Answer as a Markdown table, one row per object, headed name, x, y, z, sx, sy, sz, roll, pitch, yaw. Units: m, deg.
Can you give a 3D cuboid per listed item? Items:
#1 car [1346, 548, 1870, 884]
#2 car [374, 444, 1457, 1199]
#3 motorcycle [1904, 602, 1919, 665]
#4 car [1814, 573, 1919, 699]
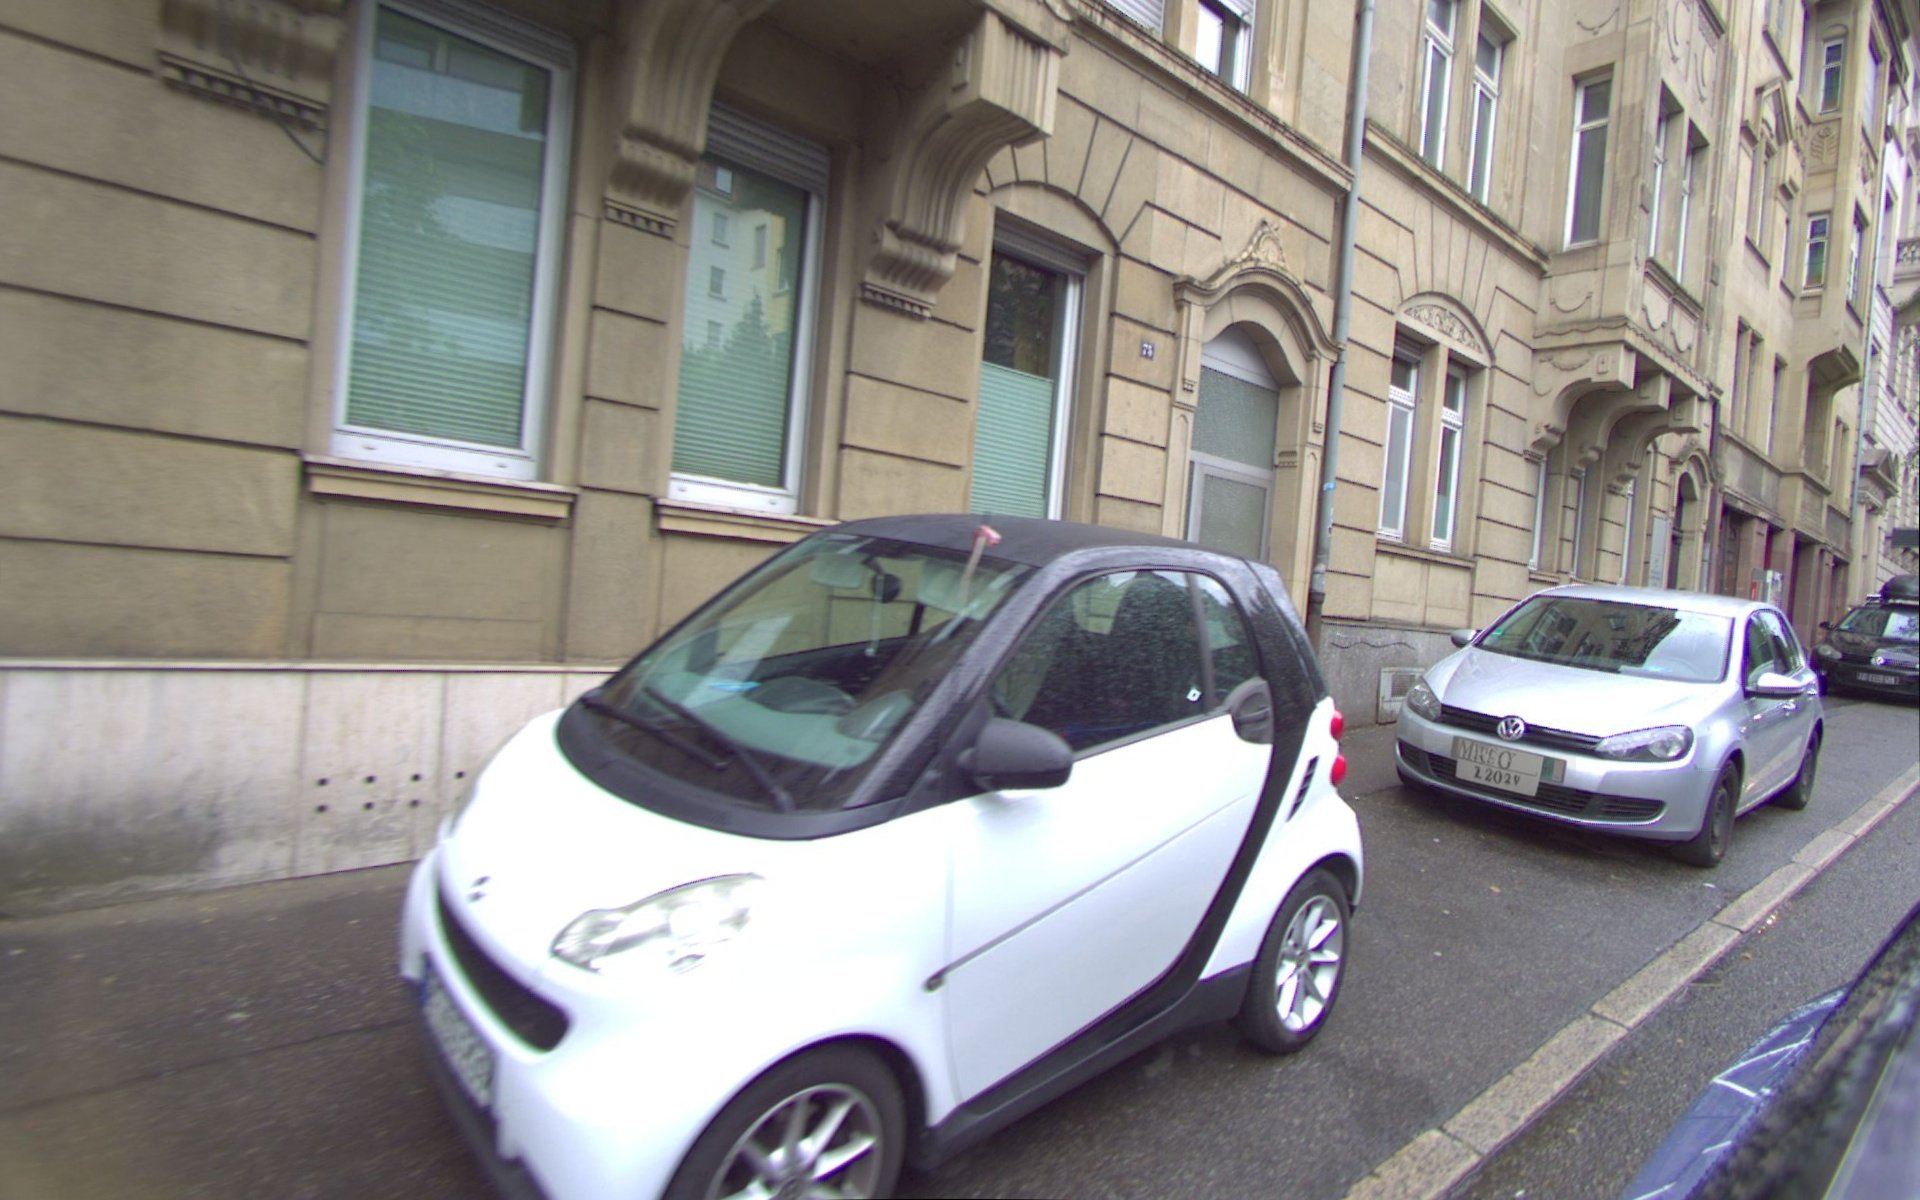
| name | x | y | z | sx | sy | sz | roll | pitch | yaw |
| --- | --- | --- | --- | --- | --- | --- | --- | --- | --- |
| car | 4.469 | 0.532 | 6.753 | 3.929 | 1.468 | 1.765 | 0 | 6 | -41 |
| car | 0.081 | 0.480 | 2.989 | 2.923 | 1.561 | 1.303 | 0 | 6 | -41 |
| motorcycle | 20.463 | 0.776 | 20.402 | 2.233 | 1.258 | 0.525 | 5 | 3 | 0 |
| car | 15.020 | 0.544 | 15.785 | 4.025 | 1.670 | 1.765 | 1 | 6 | -40 |
